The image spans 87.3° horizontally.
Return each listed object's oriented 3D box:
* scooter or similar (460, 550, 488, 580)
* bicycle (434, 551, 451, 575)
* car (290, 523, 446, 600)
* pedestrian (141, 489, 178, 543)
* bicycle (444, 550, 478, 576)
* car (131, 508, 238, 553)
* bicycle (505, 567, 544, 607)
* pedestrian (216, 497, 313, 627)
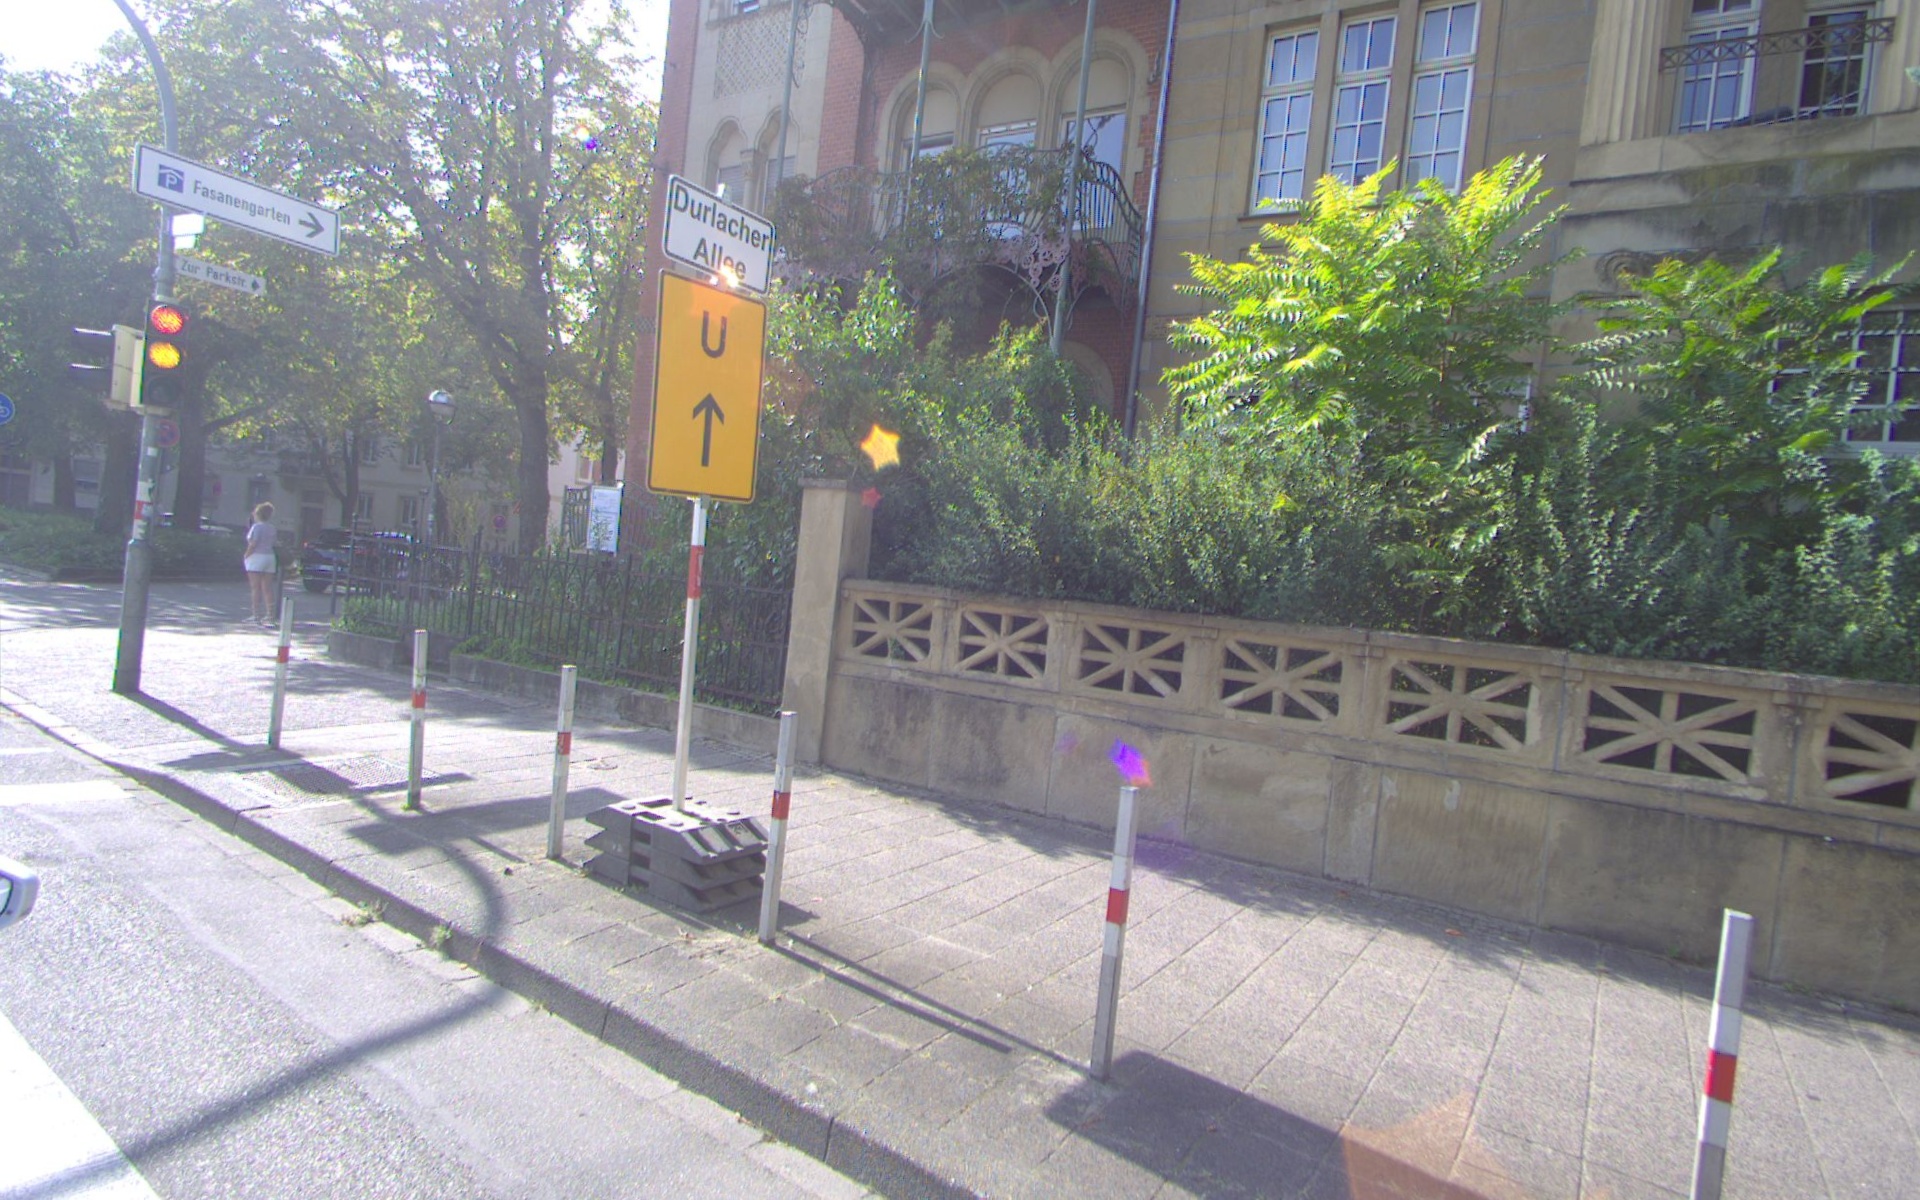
[{"bbox_3d":[-20.939,-1.518,43.324,1.059,1.214,0.456,3,4,-27],"label":"scooter or similar"},{"bbox_3d":[-22.769,-1.623,44.274,0.420,0.990,1.548,6,1,-21],"label":"bicycle"},{"bbox_3d":[-14.355,-0.907,24.686,1.584,1.534,4.221,7,1,-7],"label":"car"},{"bbox_3d":[-28.060,-2.941,35.254,0.887,1.762,0.767,5,1,-40],"label":"pedestrian"},{"bbox_3d":[-22.382,-1.642,45.129,0.417,1.052,1.556,6,1,12],"label":"bicycle"},{"bbox_3d":[-33.260,-2.983,43.141,4.070,1.447,1.757,6,1,22],"label":"car"},{"bbox_3d":[-11.482,-0.350,26.576,0.418,0.990,1.767,6,0,-8],"label":"bicycle"},{"bbox_3d":[-10.041,-0.537,14.539,0.757,1.753,0.752,6,1,22],"label":"pedestrian"}]
